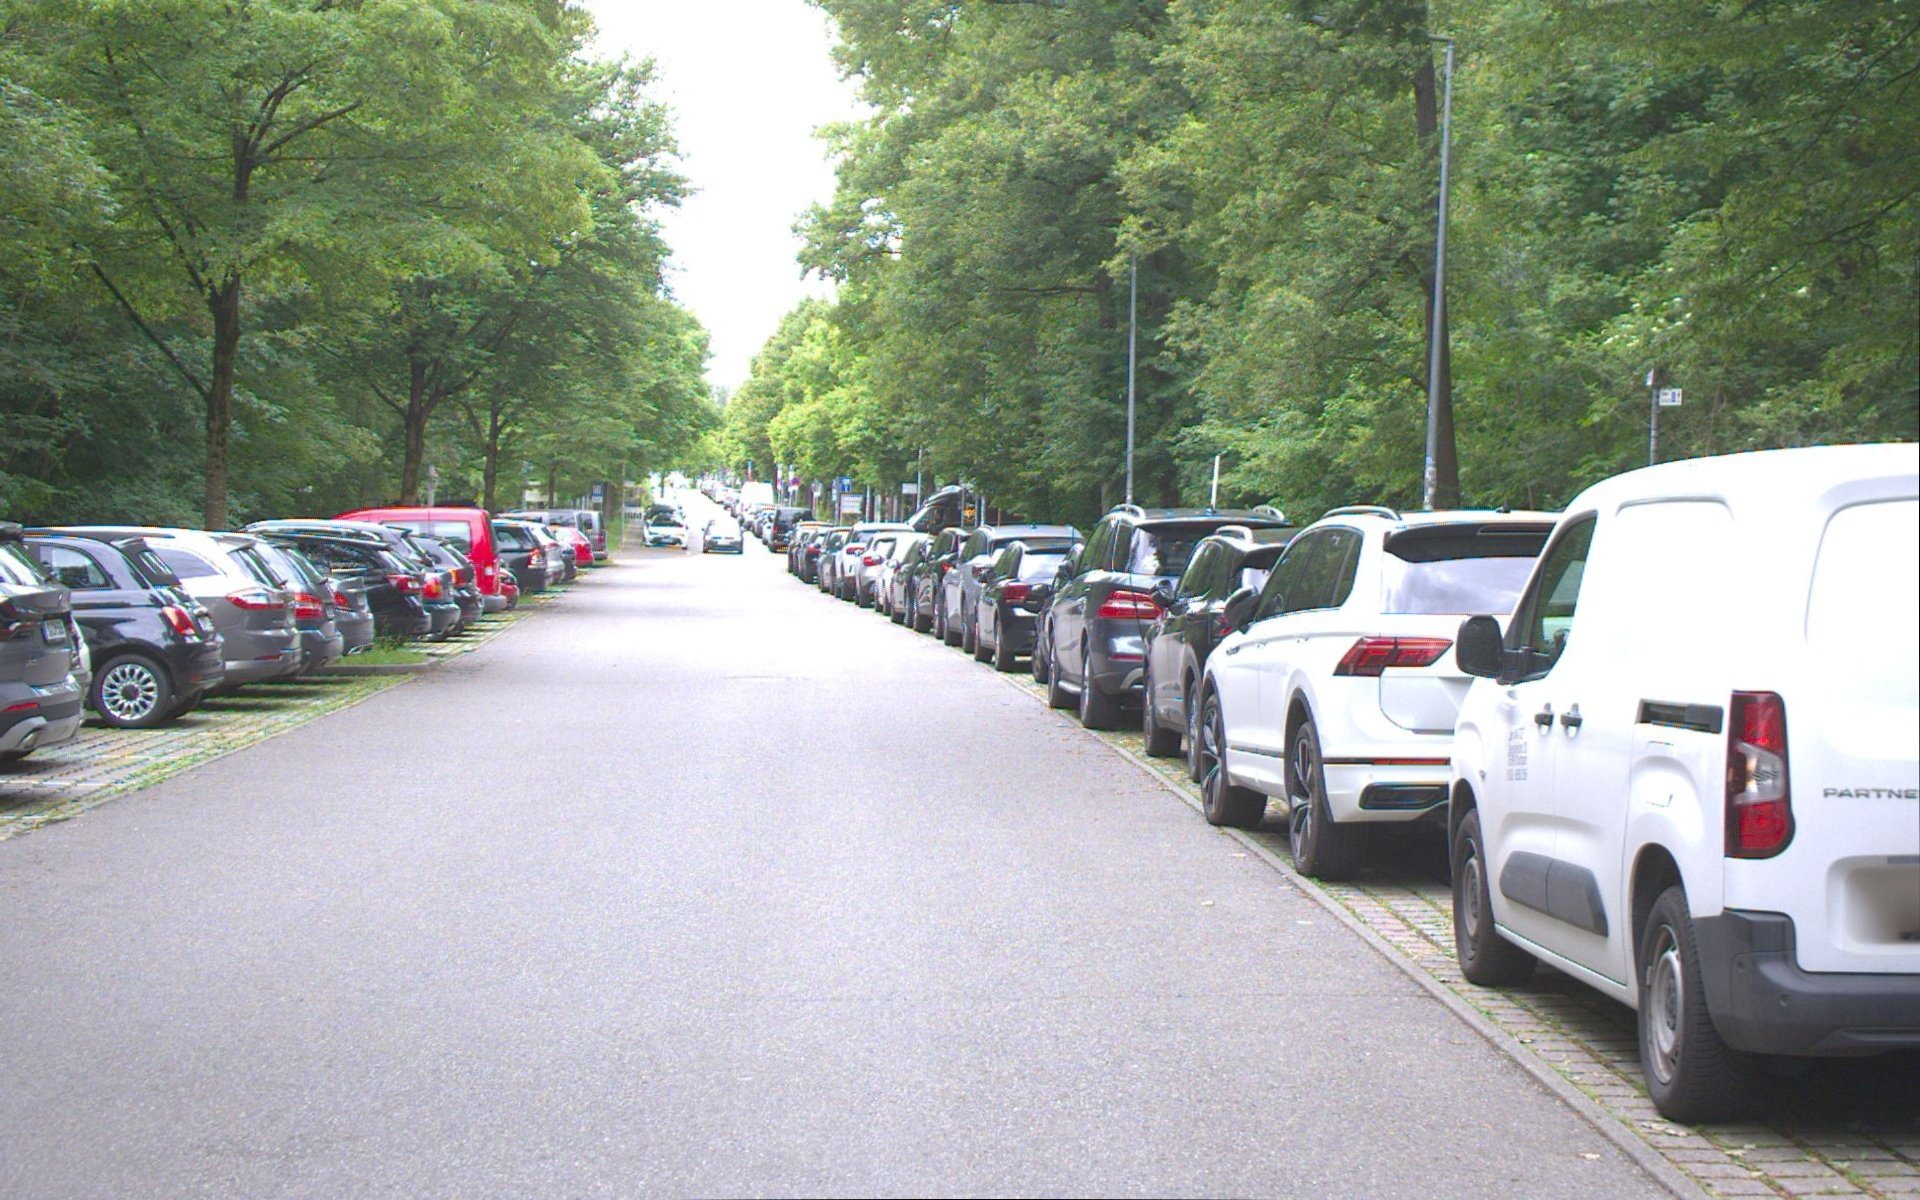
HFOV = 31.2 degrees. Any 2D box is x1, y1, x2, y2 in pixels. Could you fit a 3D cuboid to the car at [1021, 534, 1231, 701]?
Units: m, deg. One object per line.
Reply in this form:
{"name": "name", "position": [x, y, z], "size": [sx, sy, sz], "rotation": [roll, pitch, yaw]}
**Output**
{"name": "car", "position": [1.573, 0.124, 33.881], "size": [1.598, 1.499, 4.091], "rotation": [1, 1, -4]}

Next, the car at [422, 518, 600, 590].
{"name": "car", "position": [-10.554, -1.087, 81.042], "size": [3.986, 1.634, 2.009], "rotation": [1, 1, -3]}

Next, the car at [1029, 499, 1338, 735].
{"name": "car", "position": [1.731, 0.069, 28.297], "size": [1.889, 1.741, 4.949], "rotation": [1, 1, -4]}

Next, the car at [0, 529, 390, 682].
{"name": "car", "position": [-7.857, 0.035, 34.106], "size": [4.109, 1.426, 1.964], "rotation": [1, 1, -2]}

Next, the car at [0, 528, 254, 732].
{"name": "car", "position": [-7.866, 0.180, 26.669], "size": [4.400, 1.483, 1.838], "rotation": [1, 1, -2]}

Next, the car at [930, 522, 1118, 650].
{"name": "car", "position": [0.773, -0.224, 44.745], "size": [1.978, 1.532, 4.622], "rotation": [1, 1, -4]}

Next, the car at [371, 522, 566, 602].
{"name": "car", "position": [-10.515, -0.824, 73.770], "size": [3.986, 1.634, 1.735], "rotation": [1, 1, -3]}

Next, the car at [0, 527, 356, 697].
{"name": "car", "position": [-7.716, 0.081, 31.519], "size": [4.109, 1.475, 1.997], "rotation": [1, 1, -4]}

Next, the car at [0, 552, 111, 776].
{"name": "car", "position": [-7.480, 0.340, 21.473], "size": [3.978, 1.305, 1.811], "rotation": [1, 2, -5]}

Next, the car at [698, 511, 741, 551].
{"name": "car", "position": [-9.988, -2.876, 142.837], "size": [1.690, 1.410, 3.155], "rotation": [2, 4, -5]}

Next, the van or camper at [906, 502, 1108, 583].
{"name": "van or camper", "position": [1.822, -2.259, 134.055], "size": [7.321, 2.879, 2.651], "rotation": [1, 4, -18]}

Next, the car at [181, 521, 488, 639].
{"name": "car", "position": [-8.421, -0.278, 46.583], "size": [3.986, 1.525, 2.001], "rotation": [1, 1, -8]}

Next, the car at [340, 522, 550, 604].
{"name": "car", "position": [-9.896, -0.724, 66.307], "size": [3.832, 1.531, 1.871], "rotation": [1, 1, -3]}

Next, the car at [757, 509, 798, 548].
{"name": "car", "position": [-7.885, -3.089, 148.080], "size": [1.628, 1.410, 3.412], "rotation": [2, 4, -5]}

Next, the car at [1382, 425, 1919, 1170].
{"name": "car", "position": [2.599, 0.430, 10.522], "size": [1.744, 1.774, 4.553], "rotation": [1, 1, -4]}

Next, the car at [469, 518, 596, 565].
{"name": "car", "position": [-12.902, -1.760, 103.686], "size": [3.576, 1.356, 1.829], "rotation": [0, 1, -16]}

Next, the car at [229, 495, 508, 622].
{"name": "car", "position": [-8.821, -0.627, 51.555], "size": [3.986, 1.810, 2.115], "rotation": [1, 1, -6]}

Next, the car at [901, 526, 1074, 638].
{"name": "car", "position": [0.357, -0.299, 50.369], "size": [1.978, 1.532, 4.167], "rotation": [1, 1, -7]}

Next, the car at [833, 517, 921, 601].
{"name": "car", "position": [-1.806, -0.897, 73.808], "size": [1.710, 1.722, 4.001], "rotation": [1, 1, -4]}

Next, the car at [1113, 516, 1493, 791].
{"name": "car", "position": [2.131, 0.266, 22.584], "size": [1.751, 1.602, 4.447], "rotation": [1, 1, -4]}

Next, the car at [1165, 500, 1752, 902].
{"name": "car", "position": [2.226, 0.368, 16.700], "size": [1.785, 1.657, 4.719], "rotation": [1, 1, -5]}

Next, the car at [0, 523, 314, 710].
{"name": "car", "position": [-7.643, 0.113, 29.212], "size": [4.088, 1.518, 1.930], "rotation": [1, 1, -6]}

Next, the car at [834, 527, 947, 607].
{"name": "car", "position": [-1.404, -0.676, 68.194], "size": [1.721, 1.489, 3.775], "rotation": [1, 1, -9]}

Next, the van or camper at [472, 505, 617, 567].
{"name": "van or camper", "position": [-13.836, -2.132, 114.461], "size": [4.473, 1.861, 1.920], "rotation": [1, 4, -18]}

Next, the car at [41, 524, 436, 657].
{"name": "car", "position": [-8.131, -0.118, 39.074], "size": [4.294, 1.444, 1.757], "rotation": [1, 1, -8]}

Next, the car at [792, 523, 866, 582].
{"name": "car", "position": [-3.572, -1.310, 93.380], "size": [1.921, 1.515, 3.887], "rotation": [1, 1, -3]}

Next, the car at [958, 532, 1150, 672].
{"name": "car", "position": [1.011, -0.018, 38.899], "size": [1.636, 1.472, 4.152], "rotation": [1, 1, -6]}

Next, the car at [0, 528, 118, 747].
{"name": "car", "position": [-8.002, 0.208, 24.054], "size": [3.864, 1.446, 1.661], "rotation": [1, 2, -5]}

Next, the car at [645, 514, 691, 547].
{"name": "car", "position": [-12.322, -2.947, 145.265], "size": [1.739, 1.158, 3.412], "rotation": [2, 4, -2]}

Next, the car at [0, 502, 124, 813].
{"name": "car", "position": [-6.974, 0.238, 18.992], "size": [4.224, 1.627, 2.029], "rotation": [1, 1, -2]}

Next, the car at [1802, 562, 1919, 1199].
{"name": "car", "position": [2.717, 0.695, 5.202], "size": [1.725, 1.418, 4.284], "rotation": [1, 1, -1]}

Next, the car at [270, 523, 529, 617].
{"name": "car", "position": [-9.148, -0.497, 56.398], "size": [3.986, 1.469, 2.115], "rotation": [1, 1, -3]}

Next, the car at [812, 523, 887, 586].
{"name": "car", "position": [-2.791, -1.160, 86.193], "size": [1.710, 1.504, 4.001], "rotation": [1, 1, -4]}

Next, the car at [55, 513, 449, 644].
{"name": "car", "position": [-9.014, -0.286, 44.084], "size": [4.731, 1.590, 1.960], "rotation": [1, 1, -5]}

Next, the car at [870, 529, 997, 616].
{"name": "car", "position": [-0.517, -0.528, 62.179], "size": [1.936, 1.470, 3.993], "rotation": [1, 1, -5]}

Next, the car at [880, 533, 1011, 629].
{"name": "car", "position": [-0.267, -0.326, 55.408], "size": [1.666, 1.439, 3.815], "rotation": [1, 1, -7]}

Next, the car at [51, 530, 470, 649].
{"name": "car", "position": [-8.359, -0.142, 41.416], "size": [4.731, 1.338, 1.988], "rotation": [1, 1, -5]}
